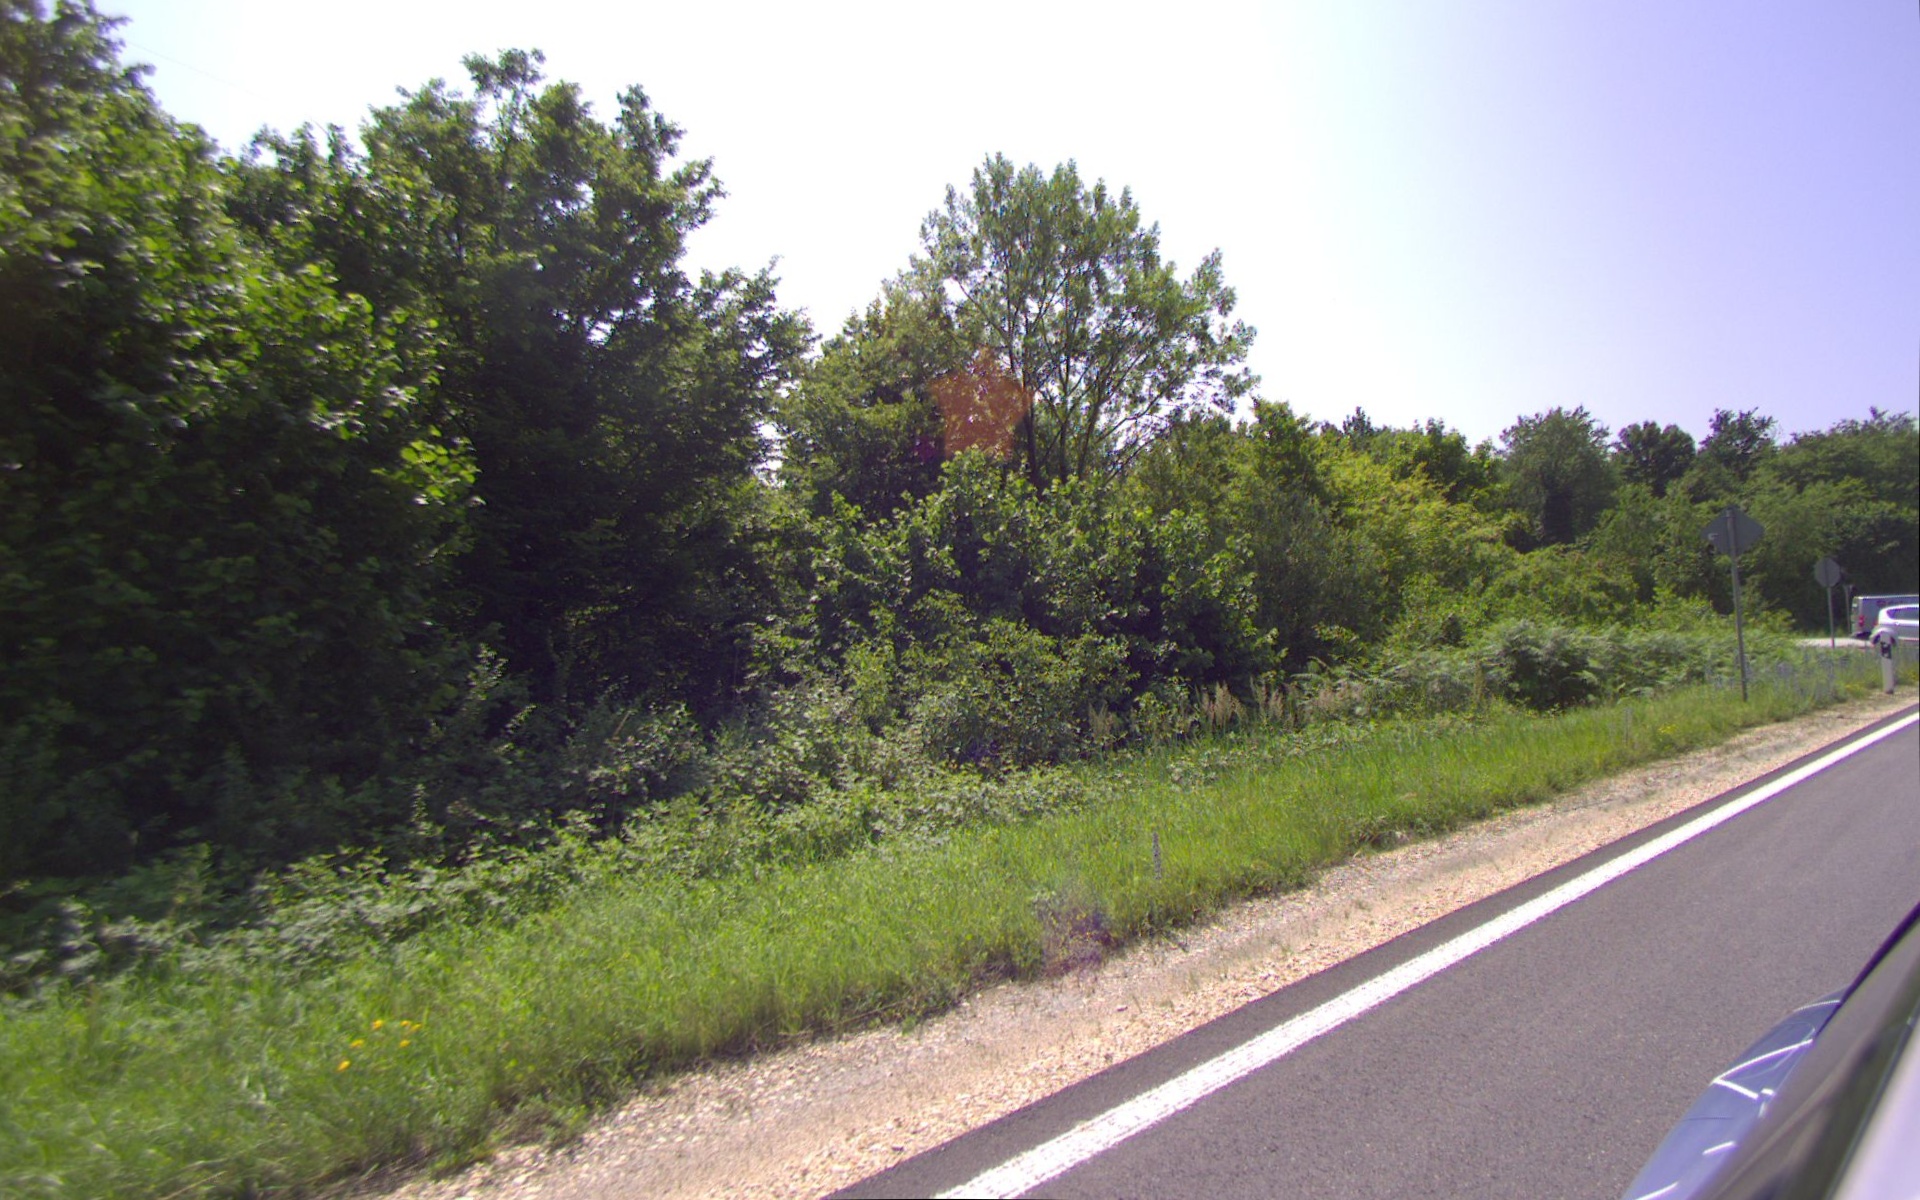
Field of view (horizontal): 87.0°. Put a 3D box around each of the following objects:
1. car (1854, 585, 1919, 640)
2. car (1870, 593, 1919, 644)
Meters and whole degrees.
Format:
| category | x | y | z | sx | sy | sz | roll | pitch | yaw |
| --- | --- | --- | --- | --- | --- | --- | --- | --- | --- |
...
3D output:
| category | x | y | z | sx | sy | sz | roll | pitch | yaw |
| --- | --- | --- | --- | --- | --- | --- | --- | --- | --- |
| car | 35.177 | 0.440 | 35.718 | 5.198 | 1.930 | 1.988 | 0 | 1 | 36 |
| car | 30.938 | 0.618 | 31.172 | 1.807 | 1.600 | 4.001 | 2 | 0 | -10 |
